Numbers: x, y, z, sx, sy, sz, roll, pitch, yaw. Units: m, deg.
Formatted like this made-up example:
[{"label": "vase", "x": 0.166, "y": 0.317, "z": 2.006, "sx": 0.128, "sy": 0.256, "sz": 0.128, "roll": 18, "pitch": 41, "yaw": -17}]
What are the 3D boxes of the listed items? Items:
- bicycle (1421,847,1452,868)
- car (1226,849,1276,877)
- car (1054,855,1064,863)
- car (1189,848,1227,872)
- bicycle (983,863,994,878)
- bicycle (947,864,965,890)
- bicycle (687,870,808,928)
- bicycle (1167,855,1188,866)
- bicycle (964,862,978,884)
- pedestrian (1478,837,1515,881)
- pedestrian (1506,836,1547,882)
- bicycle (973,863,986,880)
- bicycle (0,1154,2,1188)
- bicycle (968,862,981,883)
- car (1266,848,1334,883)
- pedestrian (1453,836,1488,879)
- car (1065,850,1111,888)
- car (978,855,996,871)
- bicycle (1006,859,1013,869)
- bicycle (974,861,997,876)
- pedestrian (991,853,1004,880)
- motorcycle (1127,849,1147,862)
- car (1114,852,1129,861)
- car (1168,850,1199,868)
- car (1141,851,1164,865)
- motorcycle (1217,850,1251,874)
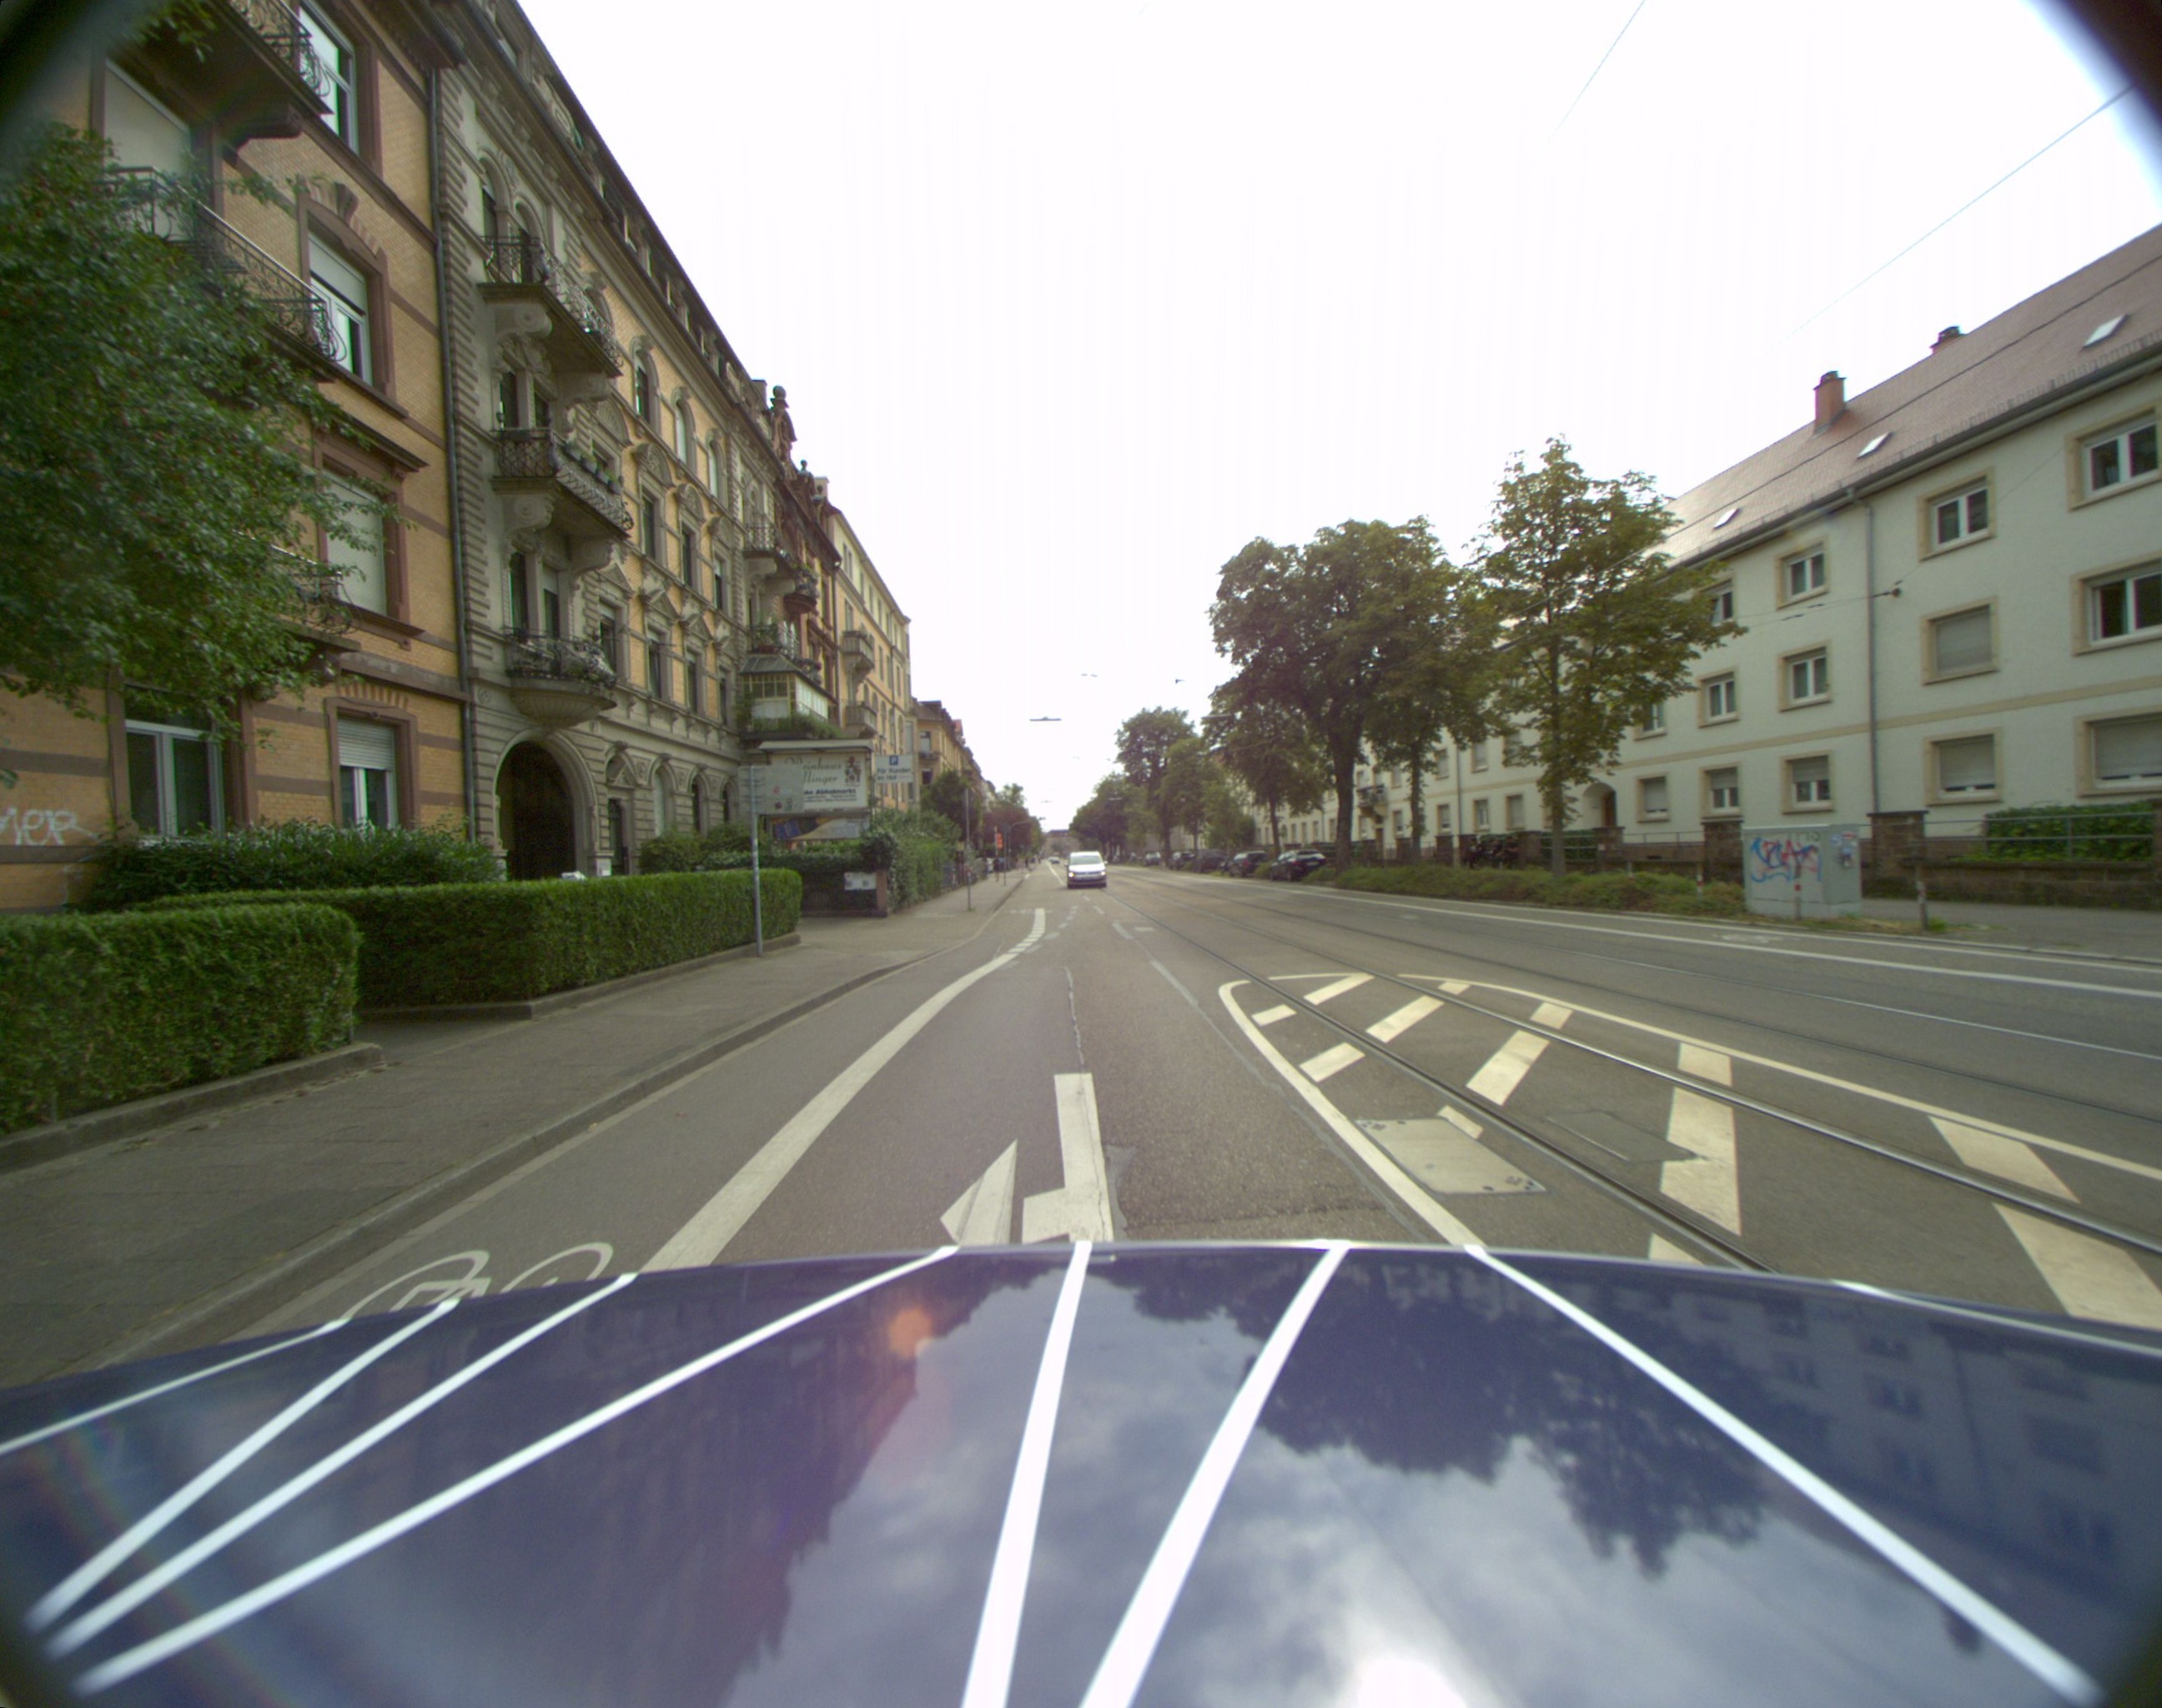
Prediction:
[{"label": "bicycle", "x": 15.113, "y": 0.145, "z": 32.350, "sx": 0.510, "sy": 0.858, "sz": 1.549, "roll": -2, "pitch": 0, "yaw": -2}, {"label": "car", "x": 9.756, "y": 0.498, "z": 44.021, "sx": 1.701, "sy": 1.415, "sz": 4.299, "roll": -3, "pitch": 0, "yaw": -2}, {"label": "car", "x": -4.621, "y": 0.995, "z": 160.445, "sx": 1.947, "sy": 1.675, "sz": 4.000, "roll": -2, "pitch": 0, "yaw": 2}, {"label": "car", "x": 9.231, "y": 0.415, "z": 55.503, "sx": 1.790, "sy": 1.602, "sz": 4.299, "roll": -2, "pitch": 0, "yaw": -2}, {"label": "bicycle", "x": -6.316, "y": 1.089, "z": 51.882, "sx": 0.580, "sy": 0.977, "sz": 1.671, "roll": 2, "pitch": 0, "yaw": -3}, {"label": "bicycle", "x": -5.760, "y": 1.056, "z": 35.036, "sx": 0.580, "sy": 1.105, "sz": 1.671, "roll": -2, "pitch": 0, "yaw": -3}, {"label": "bicycle", "x": -8.337, "y": 1.102, "z": 19.069, "sx": 2.631, "sy": 1.304, "sz": 0.770, "roll": -2, "pitch": 1, "yaw": -5}, {"label": "bicycle", "x": 8.803, "y": 0.601, "z": 69.359, "sx": 1.672, "sy": 0.965, "sz": 0.672, "roll": -2, "pitch": 1, "yaw": -11}, {"label": "bicycle", "x": -5.827, "y": 1.015, "z": 40.395, "sx": 0.580, "sy": 1.105, "sz": 1.671, "roll": 2, "pitch": 0, "yaw": -3}, {"label": "pedestrian", "x": 14.365, "y": 0.171, "z": 26.292, "sx": 0.835, "sy": 1.456, "sz": 0.732, "roll": -2, "pitch": 1, "yaw": -8}, {"label": "pedestrian", "x": 14.558, "y": 0.161, "z": 24.837, "sx": 0.835, "sy": 1.456, "sz": 0.732, "roll": -2, "pitch": 1, "yaw": -8}, {"label": "bicycle", "x": -6.143, "y": 1.070, "z": 45.995, "sx": 0.580, "sy": 0.977, "sz": 1.671, "roll": 2, "pitch": 0, "yaw": -3}, {"label": "bicycle", "x": -5.664, "y": 1.040, "z": 3.007, "sx": 0.517, "sy": 1.274, "sz": 1.550, "roll": -2, "pitch": 0, "yaw": 0}, {"label": "bicycle", "x": -5.925, "y": 1.005, "z": 42.365, "sx": 0.580, "sy": 1.105, "sz": 1.671, "roll": 2, "pitch": 0, "yaw": -3}, {"label": "car", "x": 10.189, "y": 0.492, "z": 35.689, "sx": 1.701, "sy": 1.415, "sz": 4.299, "roll": -5, "pitch": 0, "yaw": -2}, {"label": "pedestrian", "x": 14.300, "y": 0.124, "z": 27.924, "sx": 0.835, "sy": 1.503, "sz": 0.732, "roll": -2, "pitch": 1, "yaw": -8}, {"label": "car", "x": 0.263, "y": 0.677, "z": 37.011, "sx": 1.876, "sy": 1.670, "sz": 5.129, "roll": -2, "pitch": 0, "yaw": -3}, {"label": "car", "x": -9.813, "y": 0.934, "z": 78.793, "sx": 1.757, "sy": 1.516, "sz": 3.997, "roll": -2, "pitch": 0, "yaw": -8}, {"label": "bicycle", "x": -7.933, "y": 1.133, "z": 84.690, "sx": 0.630, "sy": 1.106, "sz": 1.874, "roll": -2, "pitch": 0, "yaw": -1}, {"label": "bicycle", "x": -7.713, "y": 1.175, "z": 61.313, "sx": 0.629, "sy": 1.106, "sz": 1.878, "roll": -1, "pitch": 1, "yaw": 40}, {"label": "pedestrian", "x": -5.214, "y": 0.766, "z": 47.589, "sx": 0.732, "sy": 1.614, "sz": 0.835, "roll": -2, "pitch": 1, "yaw": -3}, {"label": "motorcycle", "x": 7.391, "y": 0.196, "z": 99.546, "sx": 2.312, "sy": 1.382, "sz": 0.838, "roll": -7, "pitch": 1, "yaw": 29}, {"label": "car", "x": 6.406, "y": 0.410, "z": 121.270, "sx": 1.732, "sy": 1.462, "sz": 4.298, "roll": -2, "pitch": 0, "yaw": -5}, {"label": "car", "x": 8.707, "y": 0.425, "z": 64.713, "sx": 1.701, "sy": 1.462, "sz": 4.298, "roll": -2, "pitch": 0, "yaw": -5}, {"label": "car", "x": 7.888, "y": 0.438, "z": 83.965, "sx": 1.701, "sy": 1.462, "sz": 4.298, "roll": -3, "pitch": 1, "yaw": -5}, {"label": "motorcycle", "x": 9.626, "y": 0.522, "z": 47.866, "sx": 1.871, "sy": 1.253, "sz": 0.591, "roll": -7, "pitch": 1, "yaw": -6}]
